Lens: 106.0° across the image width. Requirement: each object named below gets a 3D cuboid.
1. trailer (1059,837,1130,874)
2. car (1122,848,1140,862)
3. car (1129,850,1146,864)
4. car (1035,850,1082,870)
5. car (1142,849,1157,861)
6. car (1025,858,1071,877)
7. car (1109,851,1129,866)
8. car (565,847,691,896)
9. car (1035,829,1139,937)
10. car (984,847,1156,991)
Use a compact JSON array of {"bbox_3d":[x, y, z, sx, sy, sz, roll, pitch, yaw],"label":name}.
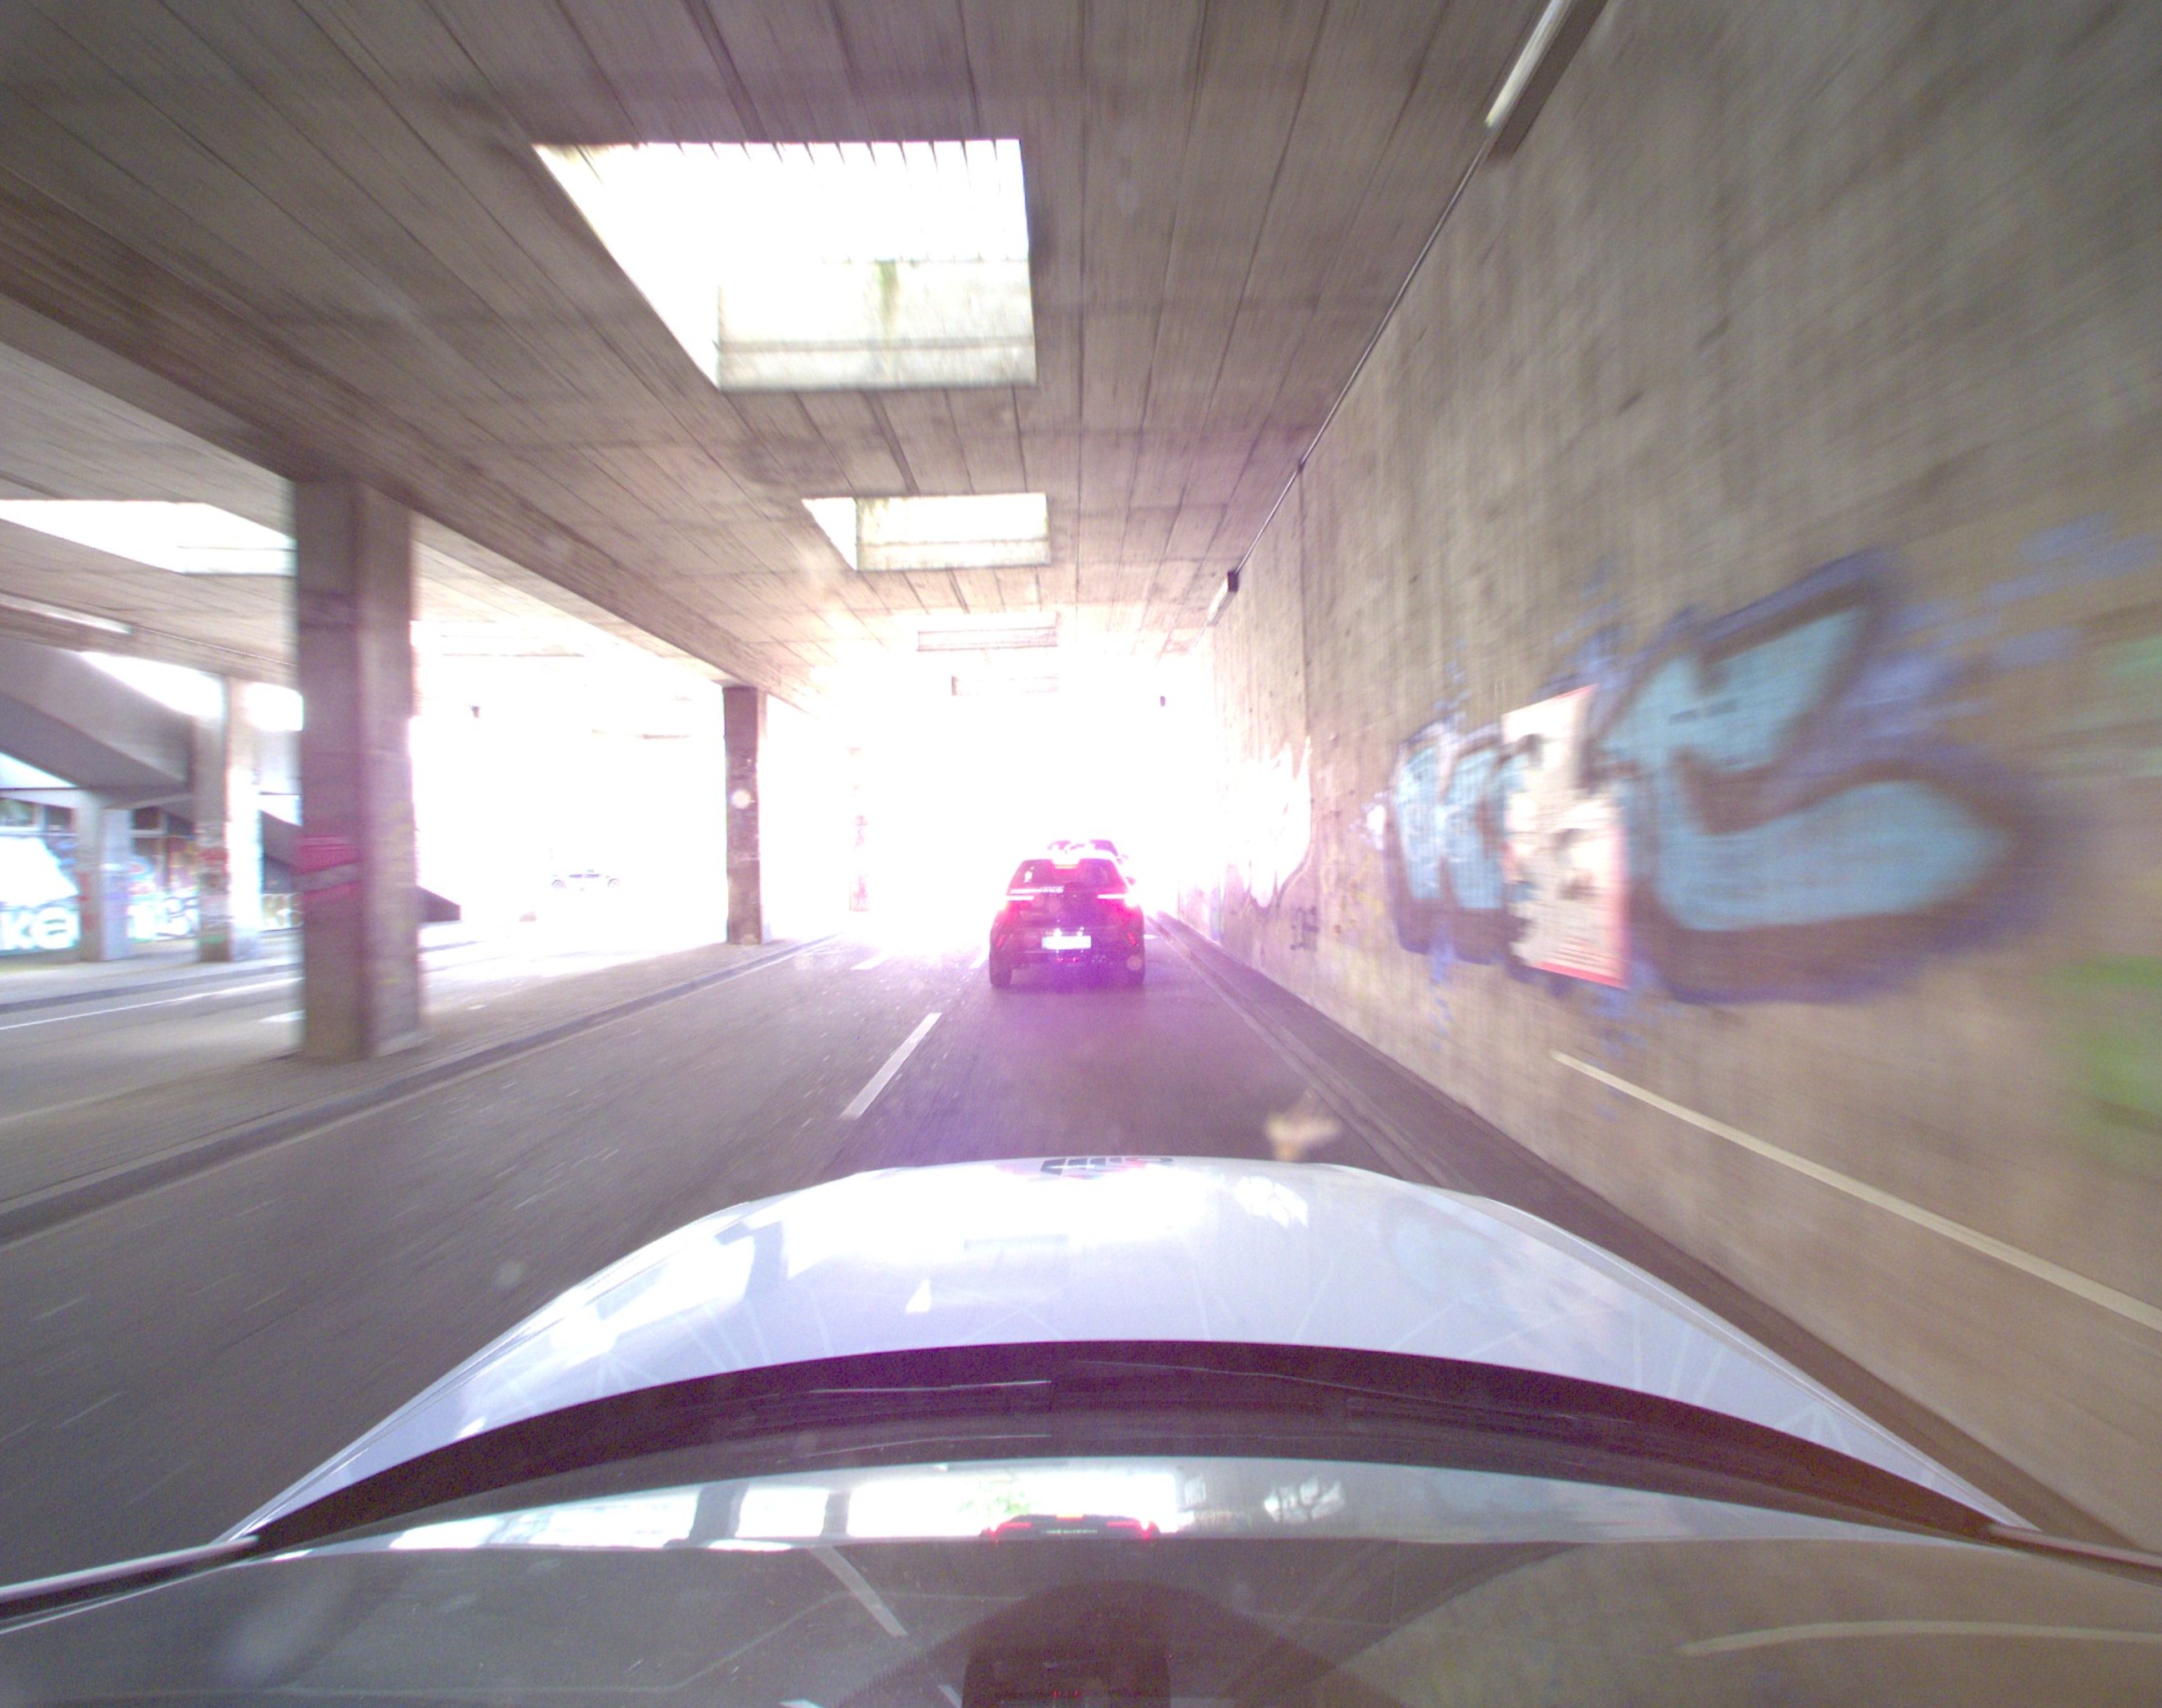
[{"bbox_3d":[0.816,0.075,47.796,3.969,2.013,2.002,-2,0,4],"label":"trailer"},{"bbox_3d":[7.427,0.115,119.679,1.980,2.013,4.283,-2,0,12],"label":"car"},{"bbox_3d":[8.985,0.441,128.684,1.980,2.013,4.283,-2,0,12],"label":"car"},{"bbox_3d":[-2.108,0.581,77.646,4.129,1.739,2.004,-2,0,6],"label":"car"},{"bbox_3d":[12.046,0.229,143.018,1.980,2.013,4.283,-2,0,12],"label":"car"},{"bbox_3d":[-2.966,1.219,73.296,3.970,1.574,1.641,-1,0,3],"label":"car"},{"bbox_3d":[5.147,0.583,109.458,1.980,2.013,4.283,-2,0,12],"label":"car"},{"bbox_3d":[-20.355,0.745,36.744,4.466,2.013,2.000,-1,2,-1],"label":"car"},{"bbox_3d":[0.082,0.512,16.949,1.810,1.882,4.584,-2,0,-1],"label":"car"},{"bbox_3d":[-0.115,0.688,10.831,1.820,1.501,4.210,-1,0,0],"label":"car"}]
